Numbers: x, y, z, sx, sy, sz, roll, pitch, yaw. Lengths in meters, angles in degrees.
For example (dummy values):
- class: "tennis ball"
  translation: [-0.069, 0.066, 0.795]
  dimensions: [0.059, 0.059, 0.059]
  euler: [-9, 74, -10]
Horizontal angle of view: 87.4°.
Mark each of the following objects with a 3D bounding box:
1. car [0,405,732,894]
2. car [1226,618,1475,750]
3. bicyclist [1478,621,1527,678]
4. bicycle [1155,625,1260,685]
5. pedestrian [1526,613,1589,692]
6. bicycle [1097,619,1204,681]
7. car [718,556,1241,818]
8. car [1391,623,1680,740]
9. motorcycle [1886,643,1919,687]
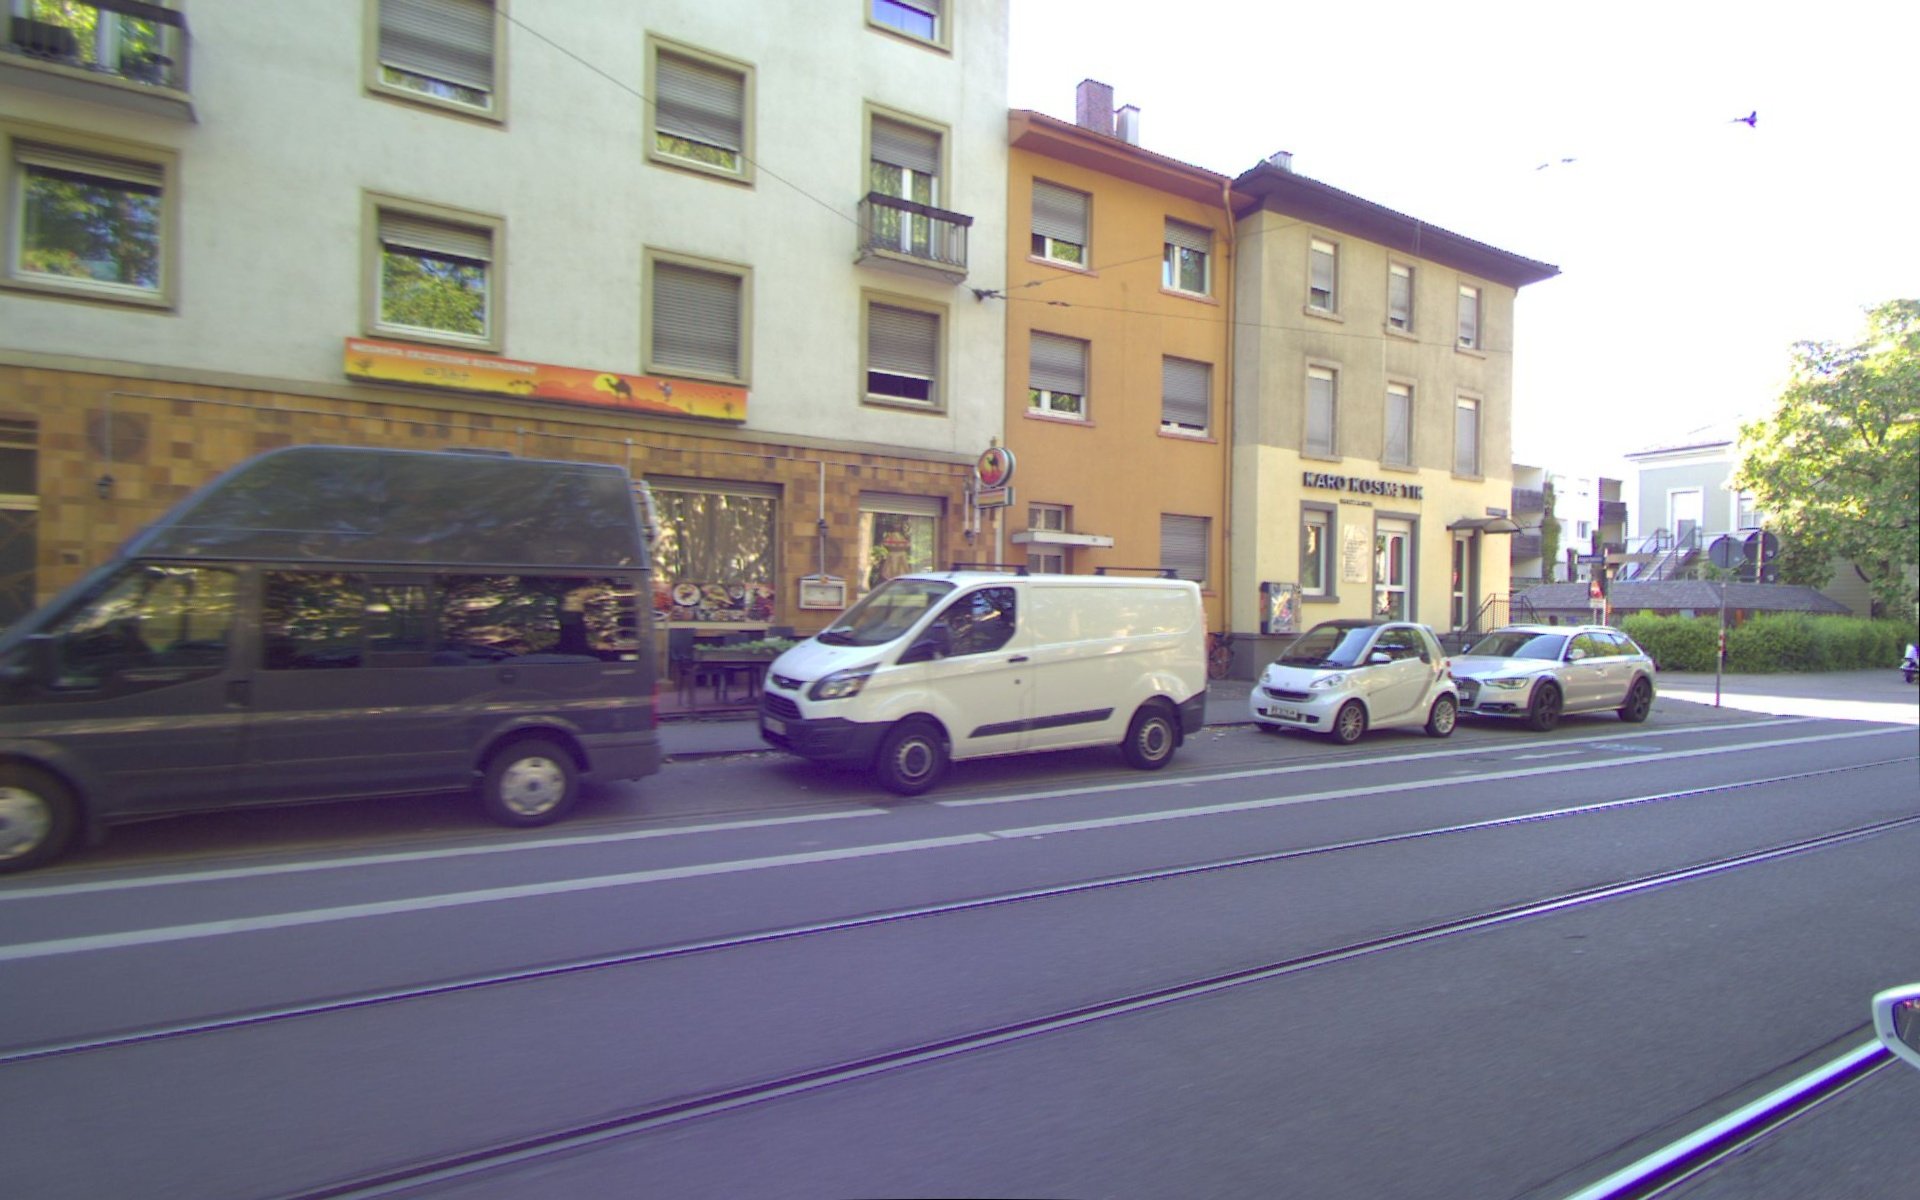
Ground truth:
- class: "car"
  translation: [-4.592, 0.270, 7.406]
  dimensions: [5.250, 2.768, 2.075]
  euler: [1, 2, -32]
- class: "car"
  translation: [5.295, 1.075, 13.619]
  dimensions: [3.003, 1.547, 1.565]
  euler: [2, 1, -29]
- class: "bicyclist"
  translation: [16.916, 1.517, 31.319]
  dimensions: [1.049, 1.728, 1.037]
  euler: [1, -1, -40]
- class: "bicycle"
  translation: [4.980, 1.101, 20.265]
  dimensions: [1.967, 1.170, 0.582]
  euler: [1, -1, 0]
- class: "pedestrian"
  translation: [12.529, 1.093, 21.076]
  dimensions: [0.930, 1.614, 0.783]
  euler: [1, -1, -30]
- class: "bicycle"
  translation: [3.689, 0.951, 19.432]
  dimensions: [2.036, 1.160, 0.573]
  euler: [1, -1, -20]
- class: "car"
  translation: [0.342, 0.699, 10.412]
  dimensions: [5.191, 2.120, 1.941]
  euler: [0, 3, -33]
- class: "car"
  translation: [9.209, 1.176, 15.935]
  dimensions: [5.014, 1.488, 1.825]
  euler: [1, 2, -33]
- class: "motorcycle"
  translation: [27.861, 1.874, 29.211]
  dimensions: [2.302, 1.122, 0.760]
  euler: [-1, 1, -31]
